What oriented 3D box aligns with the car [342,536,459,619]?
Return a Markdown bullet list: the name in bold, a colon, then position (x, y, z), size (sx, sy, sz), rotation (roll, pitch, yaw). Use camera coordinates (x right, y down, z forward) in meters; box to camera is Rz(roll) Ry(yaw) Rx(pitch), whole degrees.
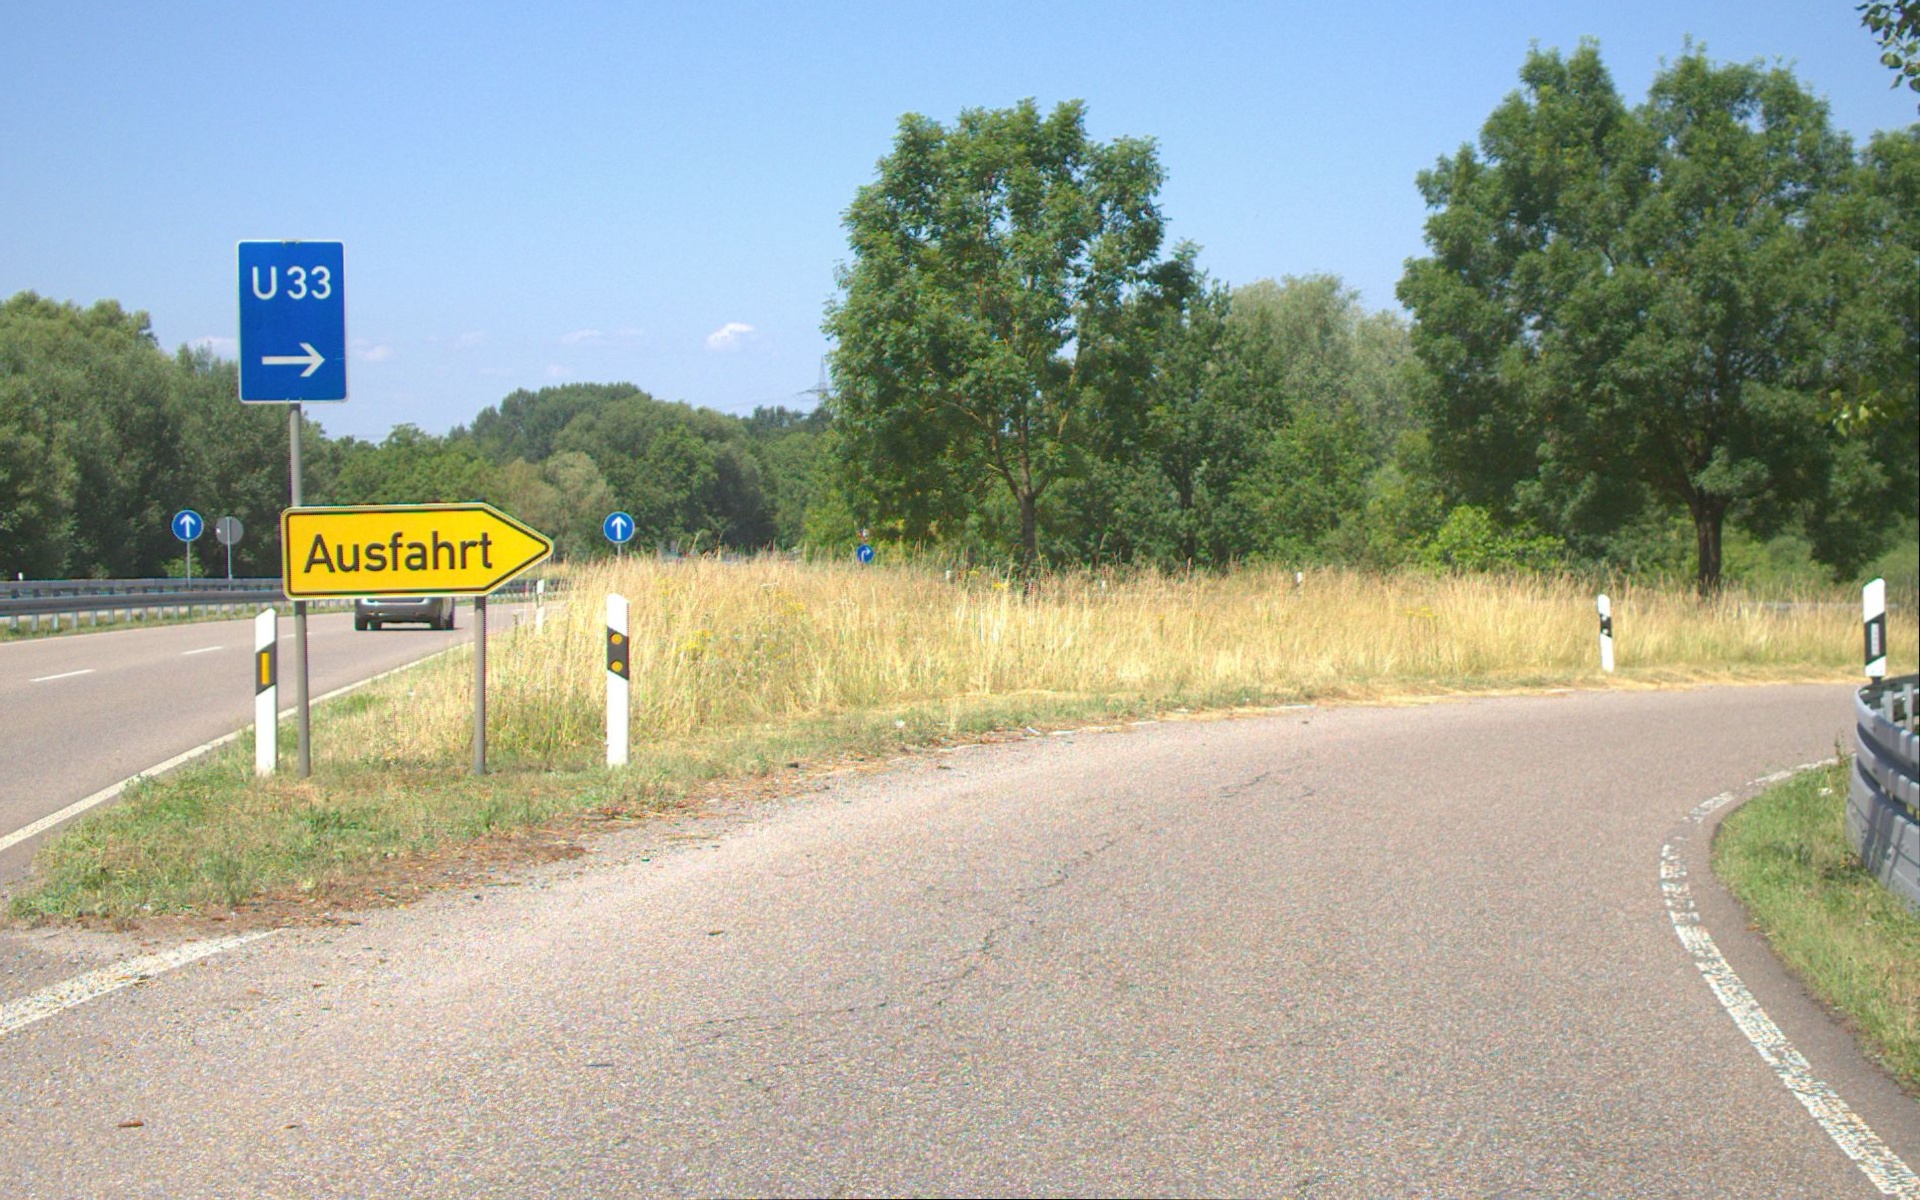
- **car**: position (-11.656, -0.487, 71.837), size (2.035, 1.667, 4.001), rotation (1, 1, -4)
